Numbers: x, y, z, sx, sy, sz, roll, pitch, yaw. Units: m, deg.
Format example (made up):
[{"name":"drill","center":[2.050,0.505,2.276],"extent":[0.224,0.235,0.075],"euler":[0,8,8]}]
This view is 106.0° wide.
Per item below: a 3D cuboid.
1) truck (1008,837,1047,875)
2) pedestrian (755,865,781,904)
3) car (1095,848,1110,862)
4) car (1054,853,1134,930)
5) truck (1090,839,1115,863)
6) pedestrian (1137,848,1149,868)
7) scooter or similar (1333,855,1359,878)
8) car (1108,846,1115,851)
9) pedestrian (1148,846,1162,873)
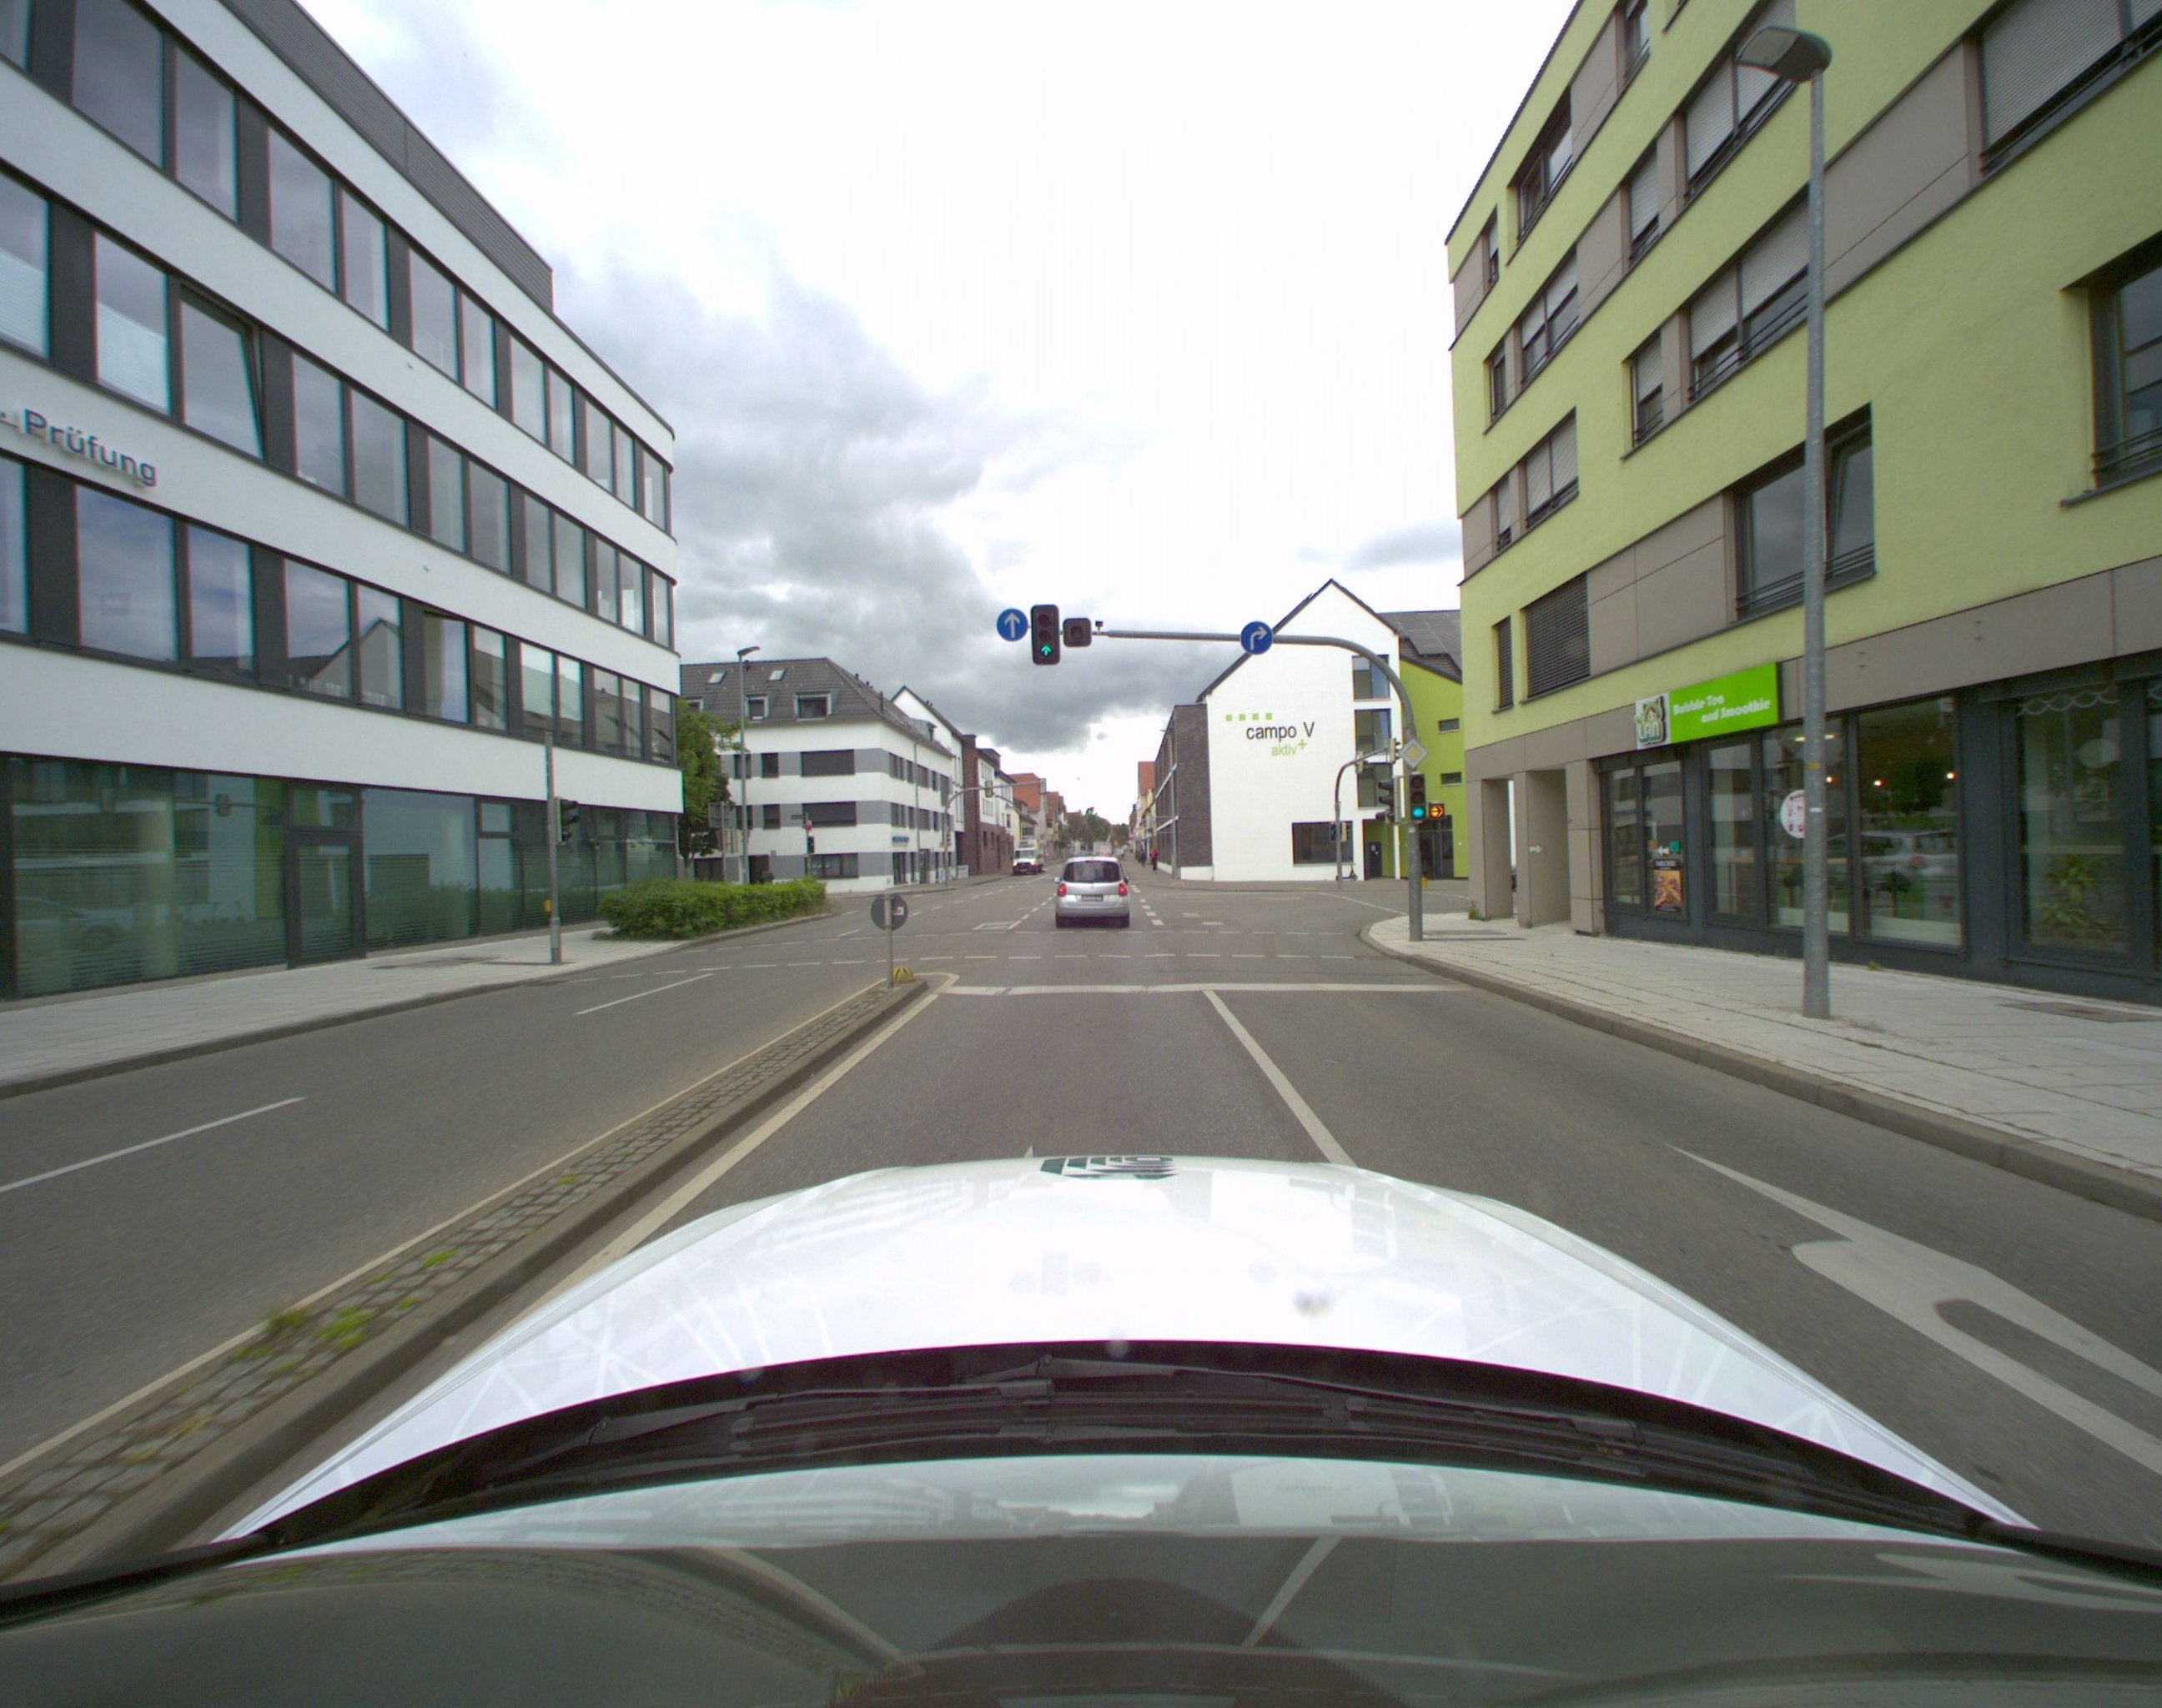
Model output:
[{"name":"truck","center":[-4.557,0.130,71.065],"extent":[2.426,2.953,8.368],"euler":[-3,0,2]},{"name":"pedestrian","center":[-14.228,1.386,37.008],"extent":[0.887,1.669,0.806],"euler":[-4,3,-30]},{"name":"car","center":[2.503,0.152,95.695],"extent":[1.700,1.579,4.002],"euler":[-1,1,2]},{"name":"car","center":[0.341,0.808,19.491],"extent":[1.700,1.579,4.002],"euler":[-1,1,2]},{"name":"truck","center":[3.602,-0.515,137.701],"extent":[2.597,3.857,6.823],"euler":[-2,0,-11]},{"name":"pedestrian","center":[5.749,0.349,75.391],"extent":[0.886,1.786,0.785],"euler":[-5,0,2]},{"name":"scooter or similar","center":[14.103,0.656,43.313],"extent":[1.225,1.235,0.407],"euler":[-1,0,2]},{"name":"car","center":[8.433,-1.523,225.038],"extent":[1.805,1.354,4.003],"euler":[-3,1,3]},{"name":"pedestrian","center":[5.182,0.362,56.912],"extent":[0.804,1.786,0.862],"euler":[-5,0,2]}]
